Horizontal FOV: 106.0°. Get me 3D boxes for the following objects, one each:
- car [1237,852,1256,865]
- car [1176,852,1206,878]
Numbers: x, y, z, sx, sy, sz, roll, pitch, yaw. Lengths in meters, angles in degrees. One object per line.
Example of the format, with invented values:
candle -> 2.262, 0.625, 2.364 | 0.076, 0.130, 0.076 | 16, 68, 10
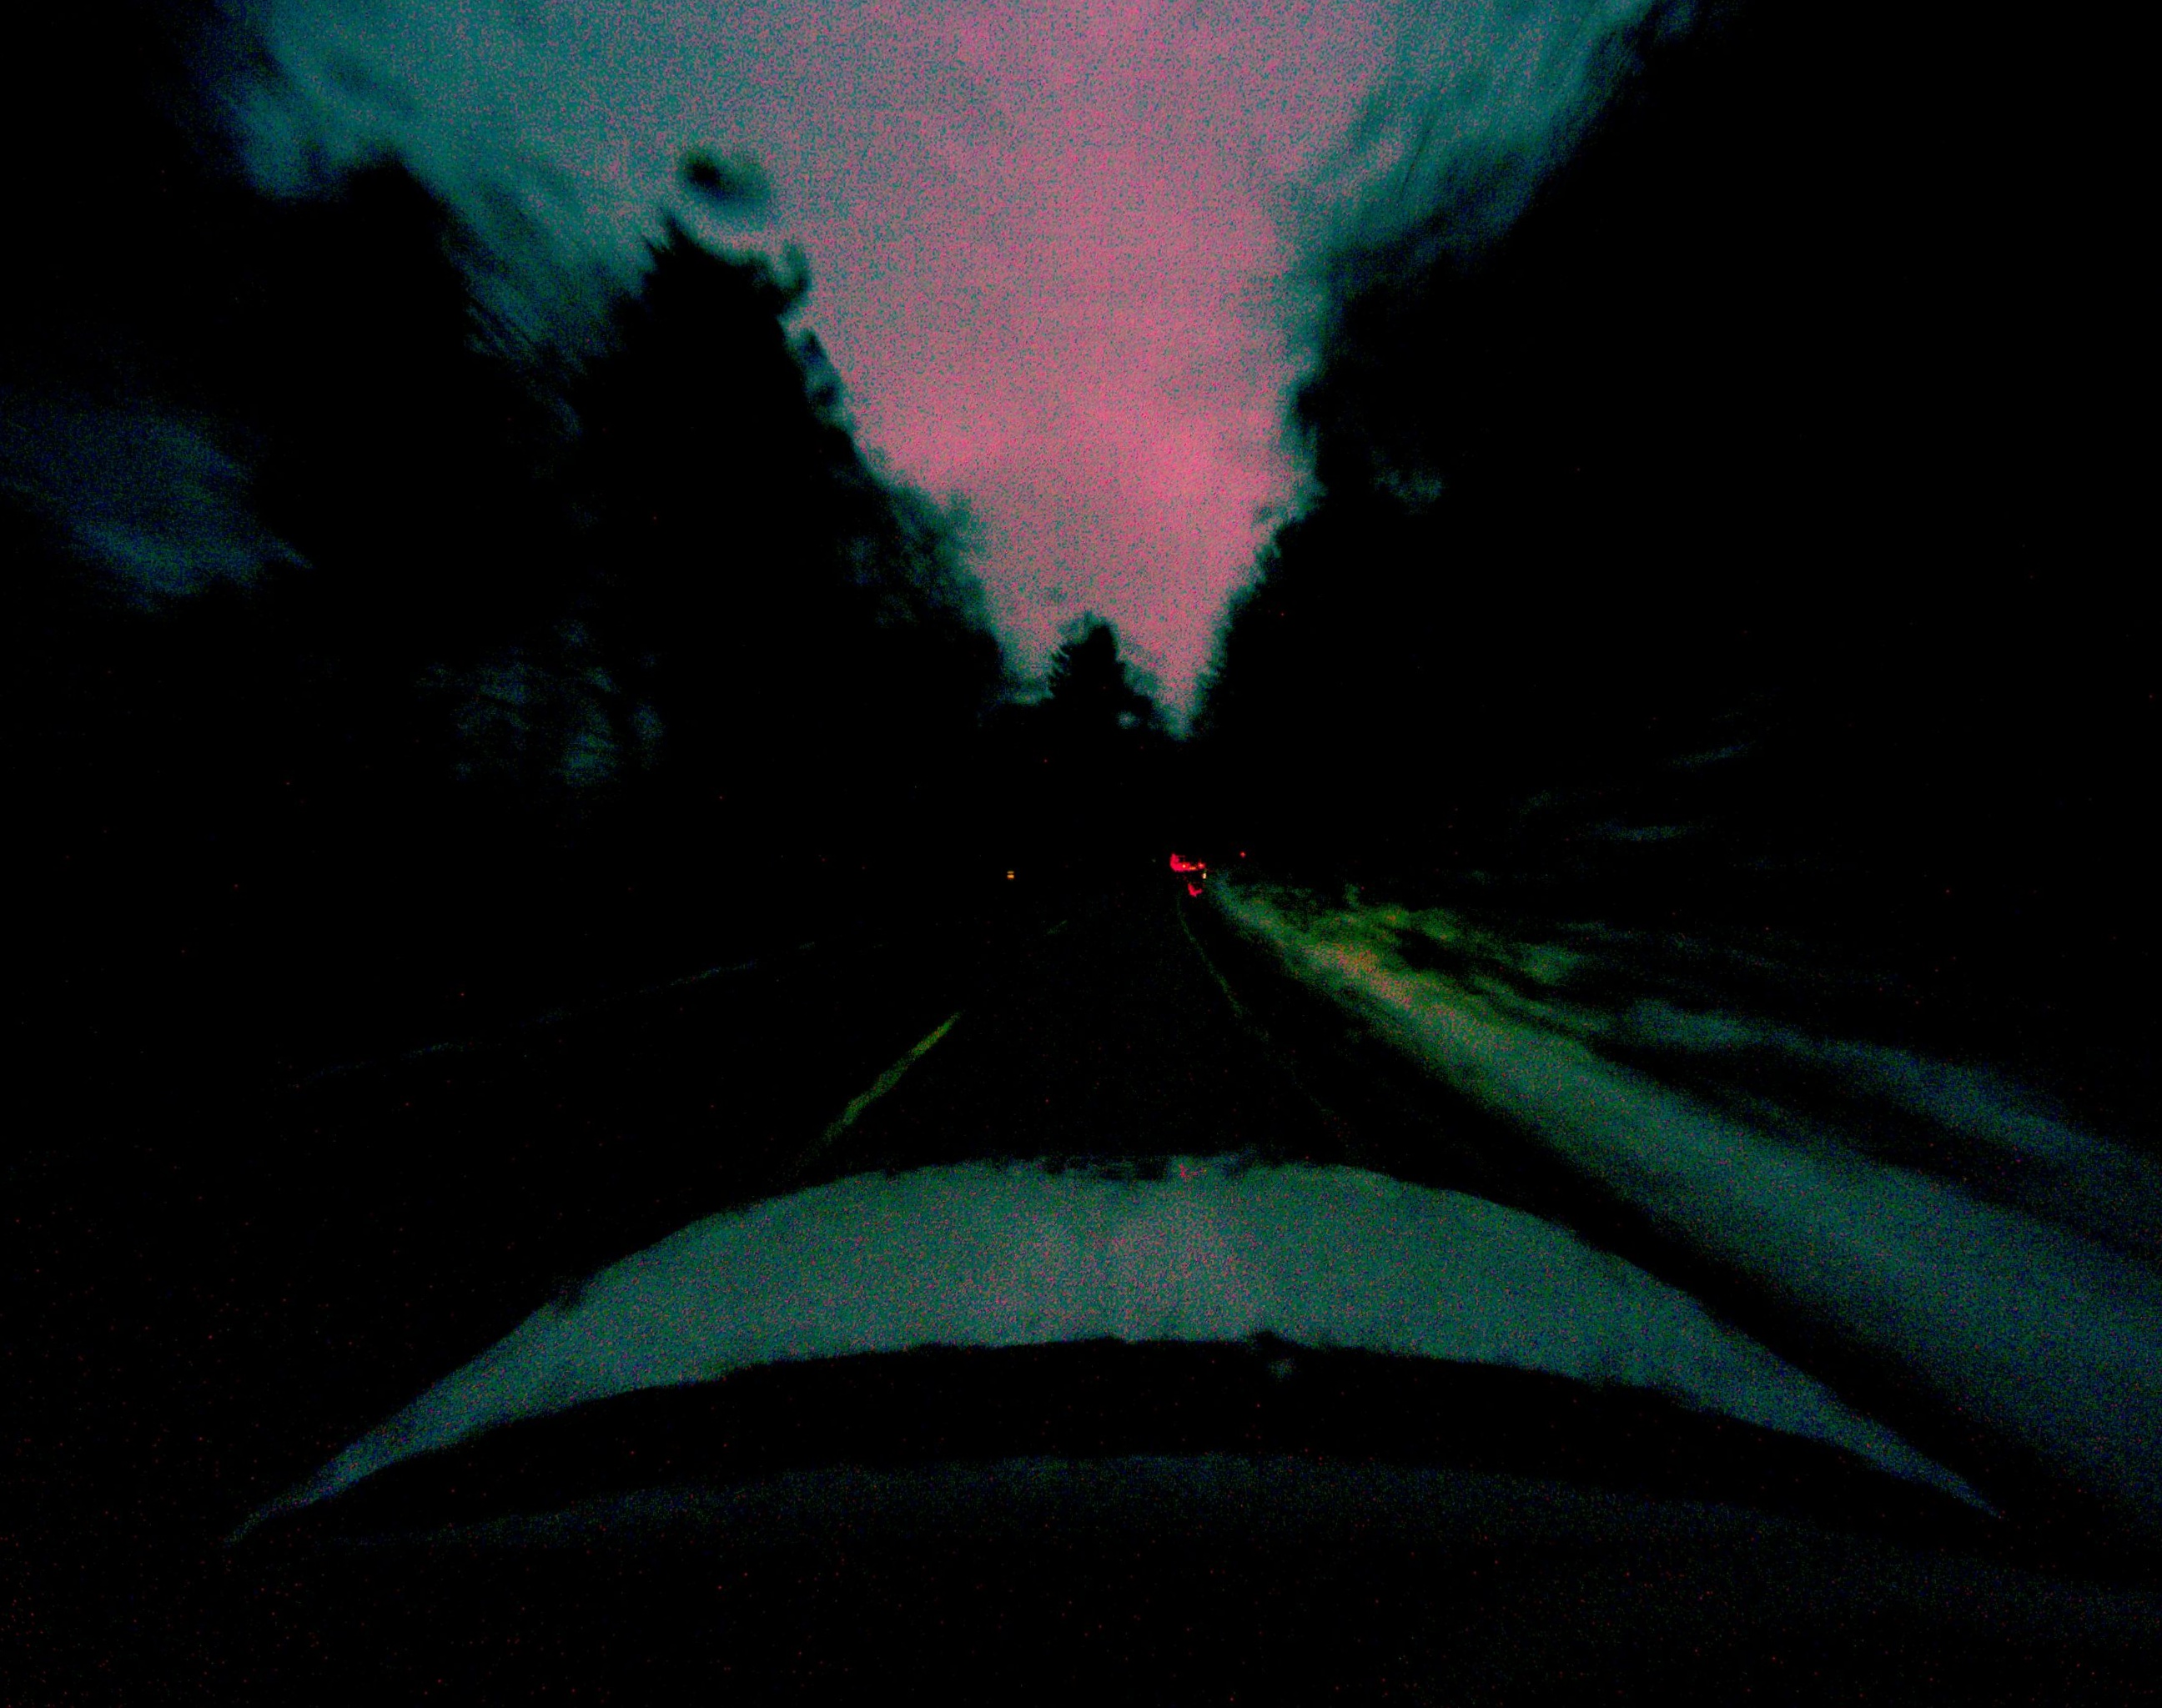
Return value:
car -> 19.316, 0.521, 94.866 | 1.980, 1.310, 4.013 | -3, 0, 12
car -> 8.628, 0.832, 63.436 | 1.981, 1.872, 4.012 | -3, 0, 11
